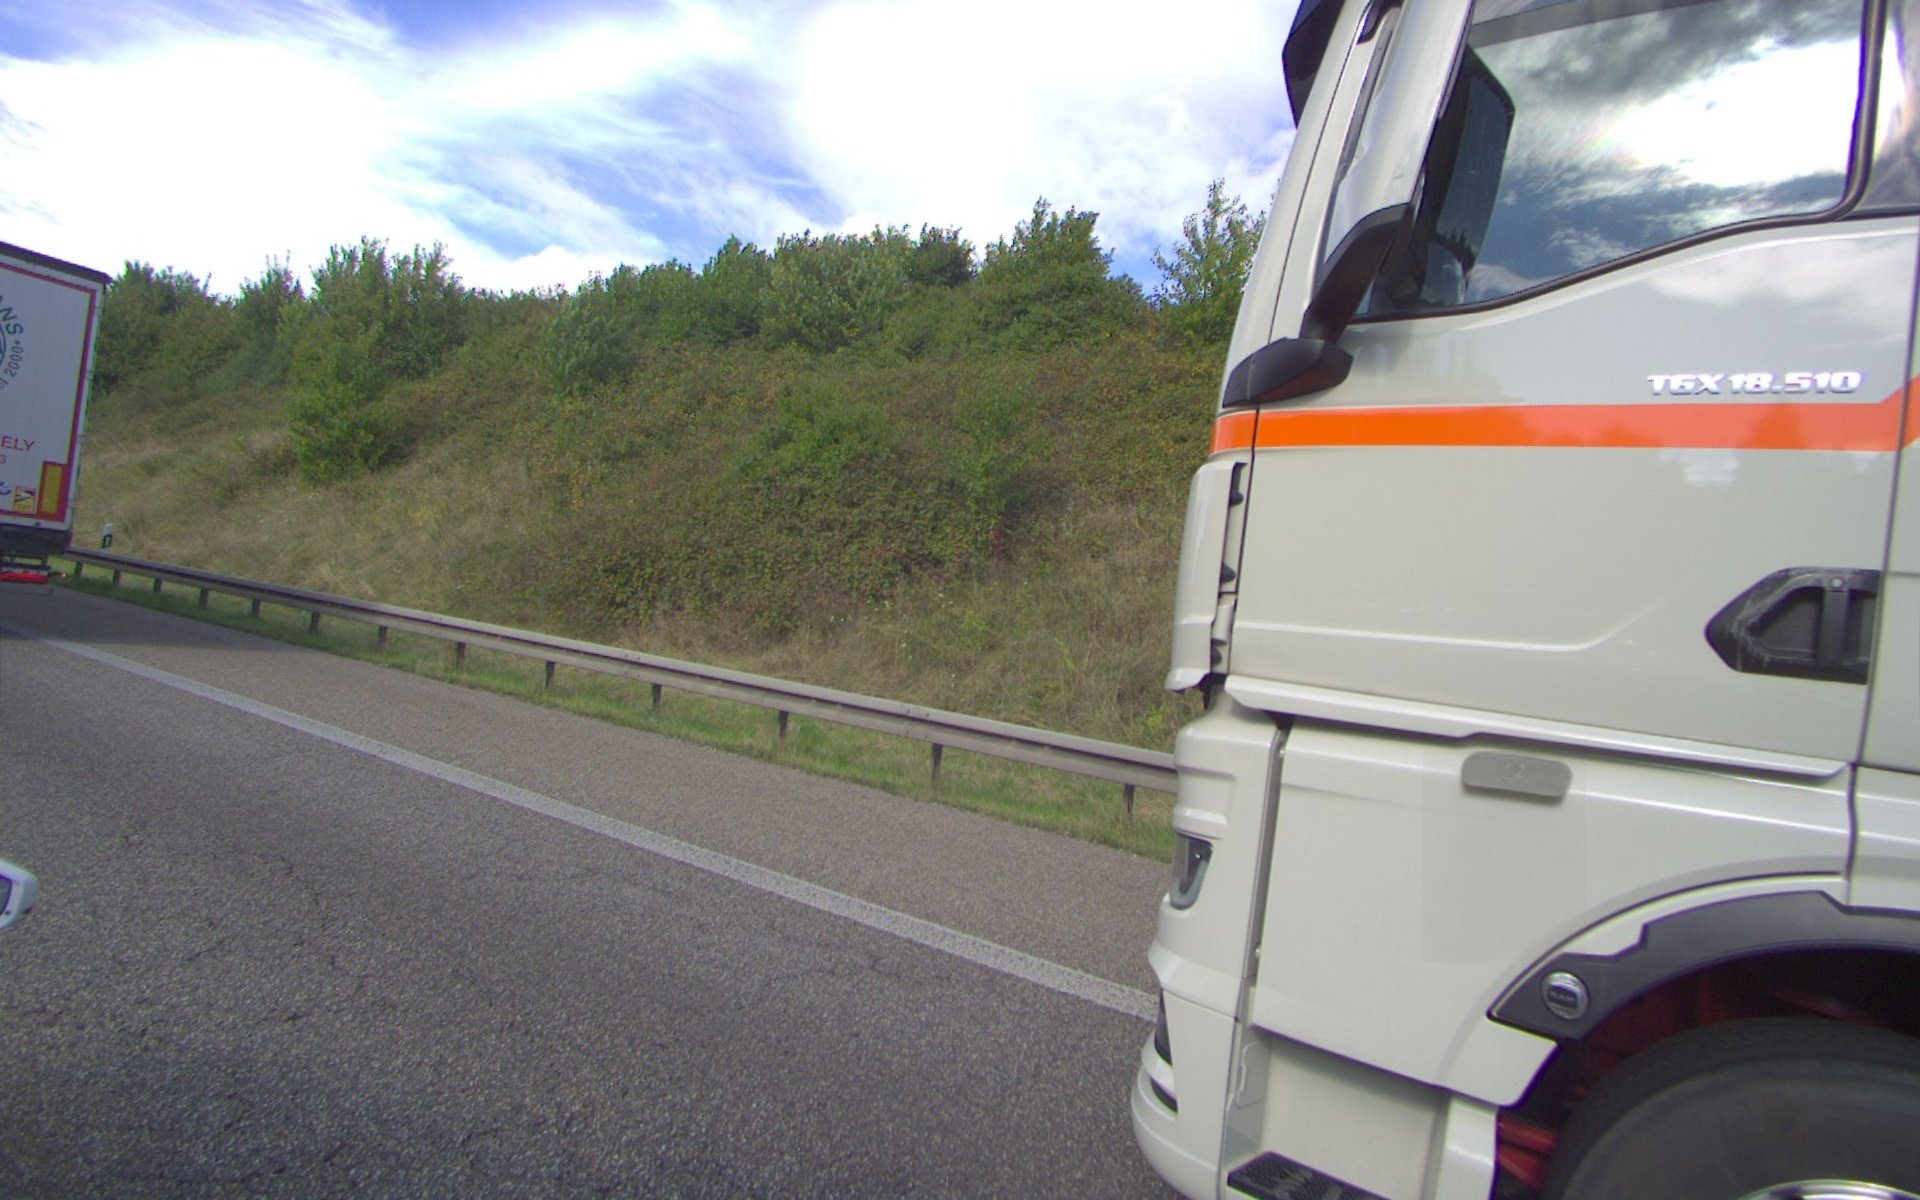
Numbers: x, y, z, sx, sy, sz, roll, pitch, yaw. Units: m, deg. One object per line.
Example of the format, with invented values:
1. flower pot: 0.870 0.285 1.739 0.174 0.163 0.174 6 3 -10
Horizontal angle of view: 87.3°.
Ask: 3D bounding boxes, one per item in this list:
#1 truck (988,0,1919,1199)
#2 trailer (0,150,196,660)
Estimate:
1. truck: 3.452 -0.132 1.862 5.808 4.091 2.807 7 -1 33
2. trailer: -14.727 -2.498 12.836 13.069 4.716 3.007 7 -1 32
